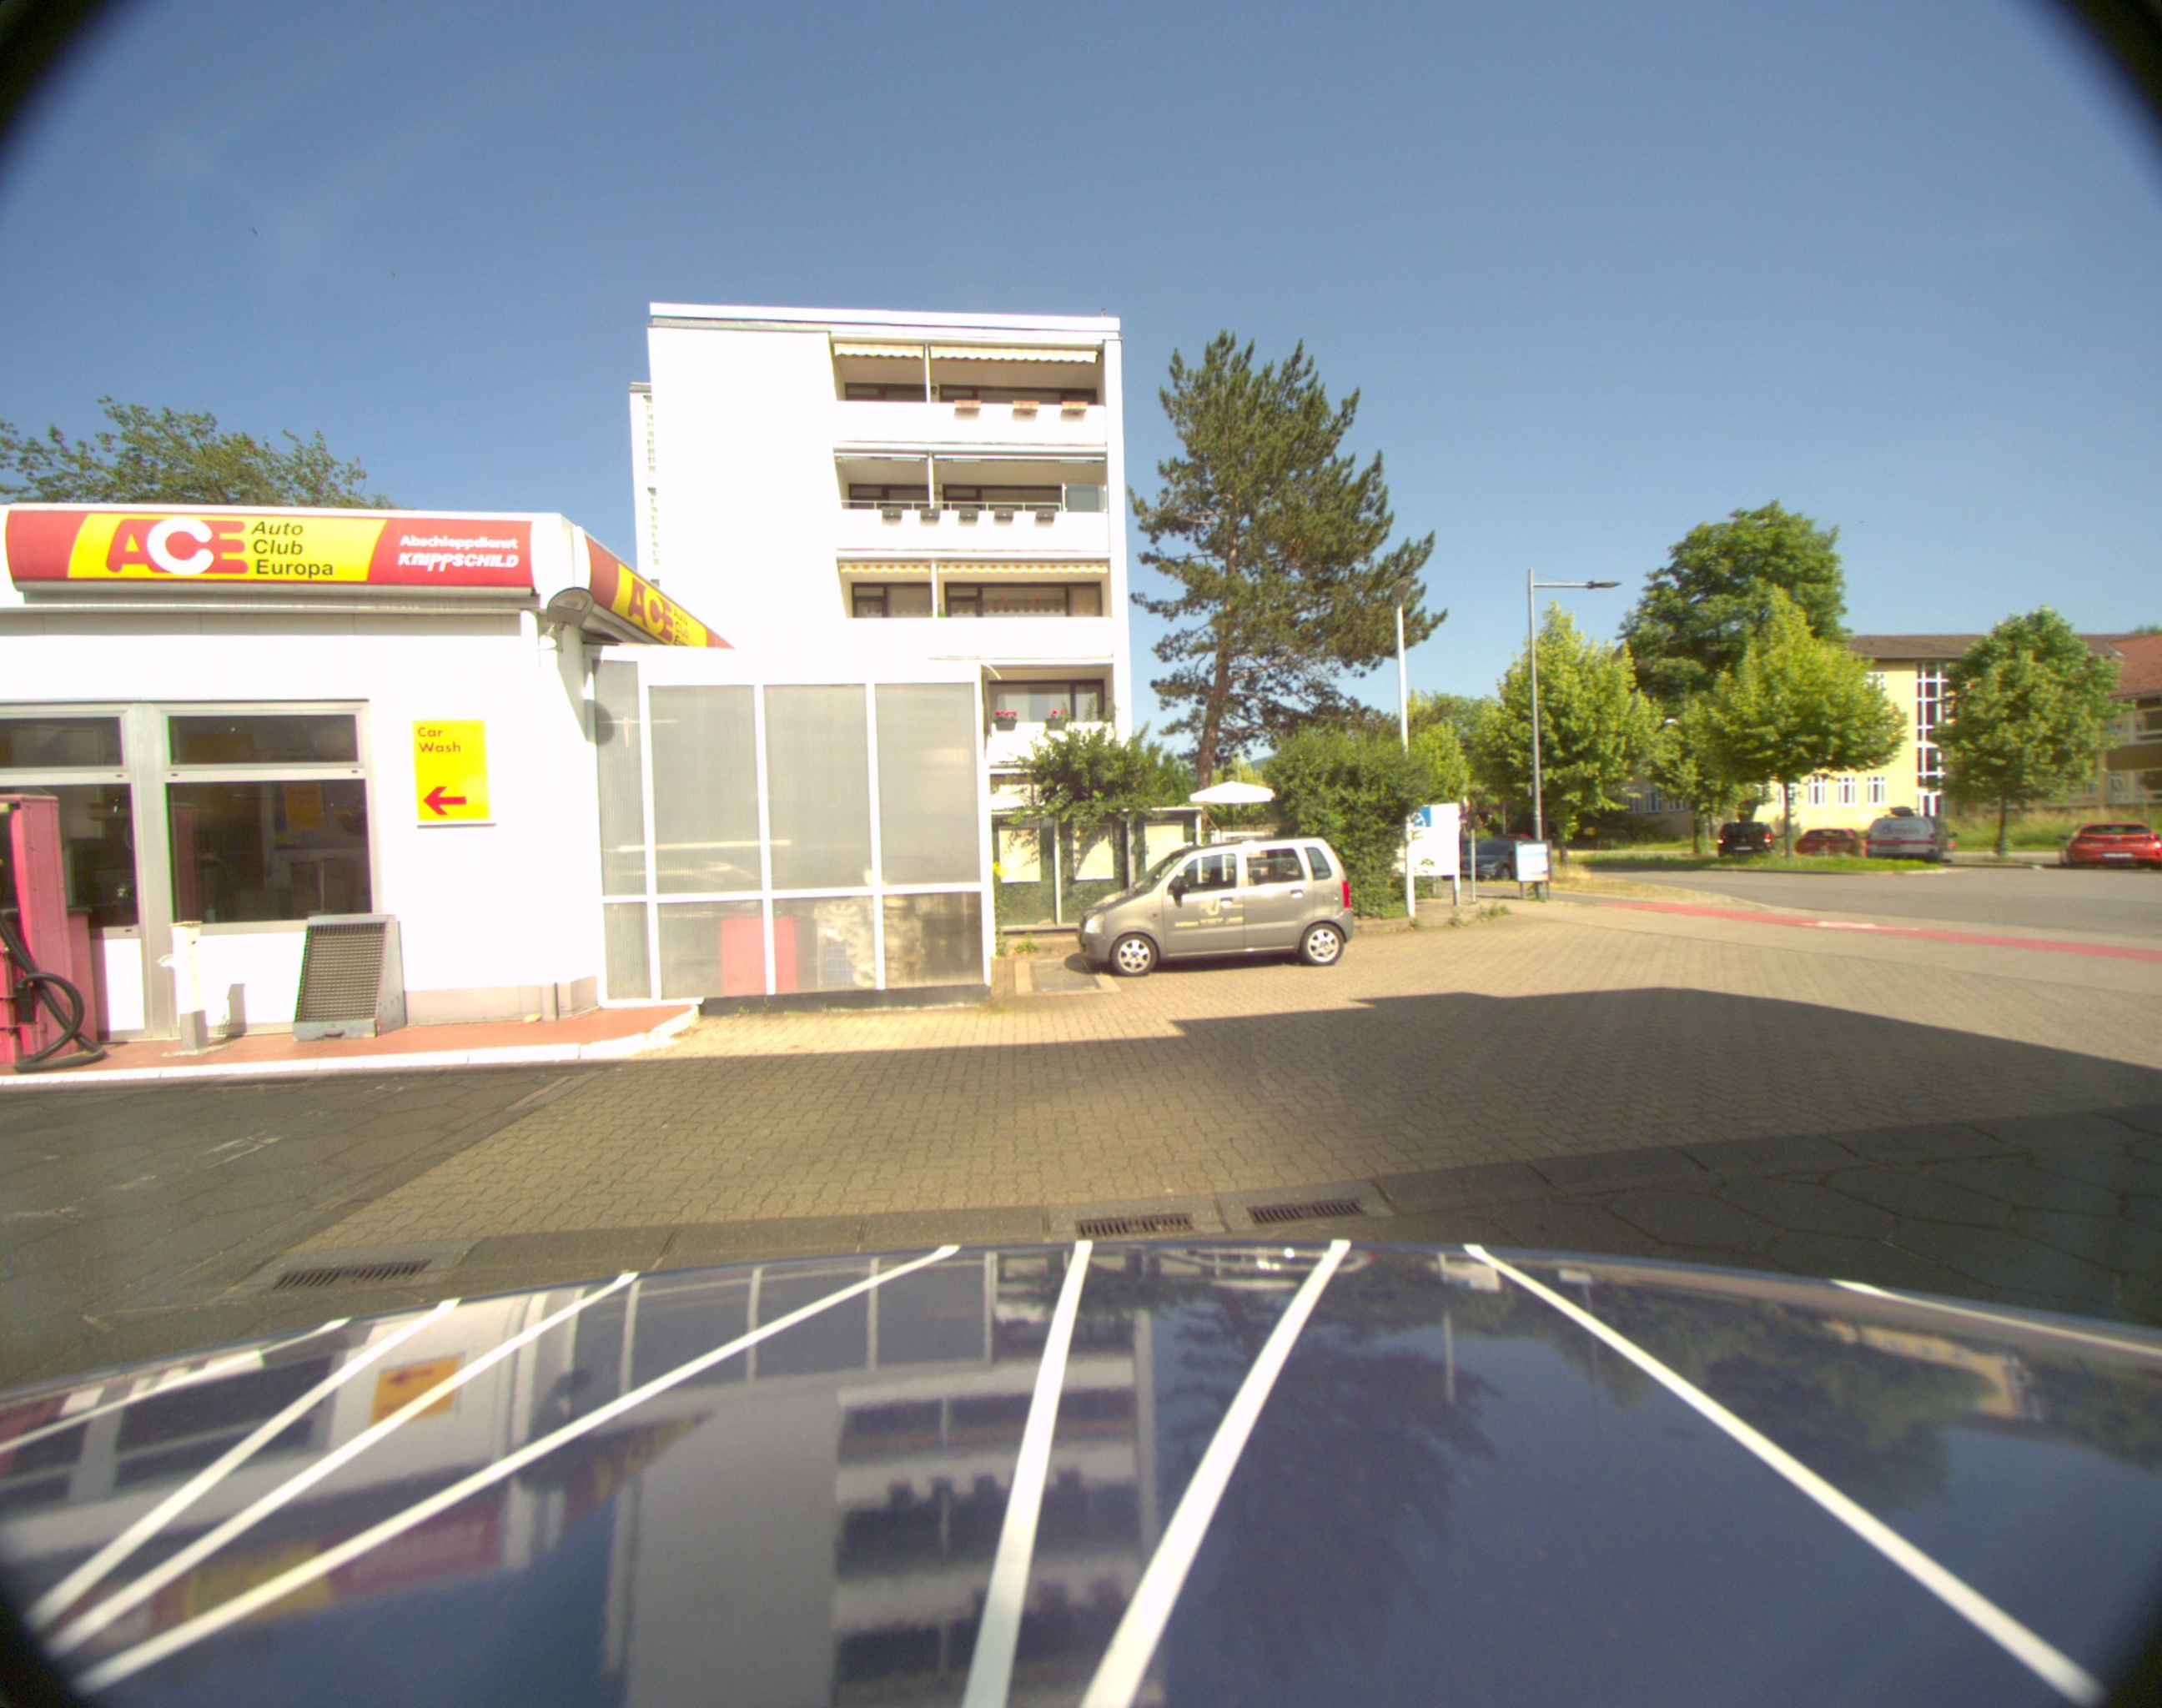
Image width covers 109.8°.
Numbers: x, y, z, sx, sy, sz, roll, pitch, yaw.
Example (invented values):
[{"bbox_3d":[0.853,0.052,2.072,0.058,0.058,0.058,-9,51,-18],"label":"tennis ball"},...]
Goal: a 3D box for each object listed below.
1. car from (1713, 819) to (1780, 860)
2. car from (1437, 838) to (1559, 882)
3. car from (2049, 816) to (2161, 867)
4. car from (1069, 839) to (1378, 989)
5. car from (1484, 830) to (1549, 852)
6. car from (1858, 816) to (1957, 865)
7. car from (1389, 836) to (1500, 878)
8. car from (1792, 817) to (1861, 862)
[{"bbox_3d":[29.458,-0.642,33.614,4.234,1.713,1.876,-1,2,-44],"label":"car"},{"bbox_3d":[14.479,0.153,26.327,4.233,1.409,1.876,-1,1,-32],"label":"car"},{"bbox_3d":[31.418,-0.399,23.295,4.234,1.451,1.876,-1,2,-41],"label":"car"},{"bbox_3d":[1.742,0.710,10.079,3.661,1.608,1.691,-3,1,-3],"label":"car"},{"bbox_3d":[28.665,-0.844,50.030,3.731,1.383,1.877,0,2,-24],"label":"car"},{"bbox_3d":[30.852,-0.523,28.335,4.233,1.713,1.876,-1,2,-35],"label":"car"},{"bbox_3d":[13.997,0.072,29.185,4.233,1.473,1.876,-1,1,-32],"label":"car"},{"bbox_3d":[30.462,-0.583,31.032,4.234,1.713,1.876,-1,2,-44],"label":"car"}]
